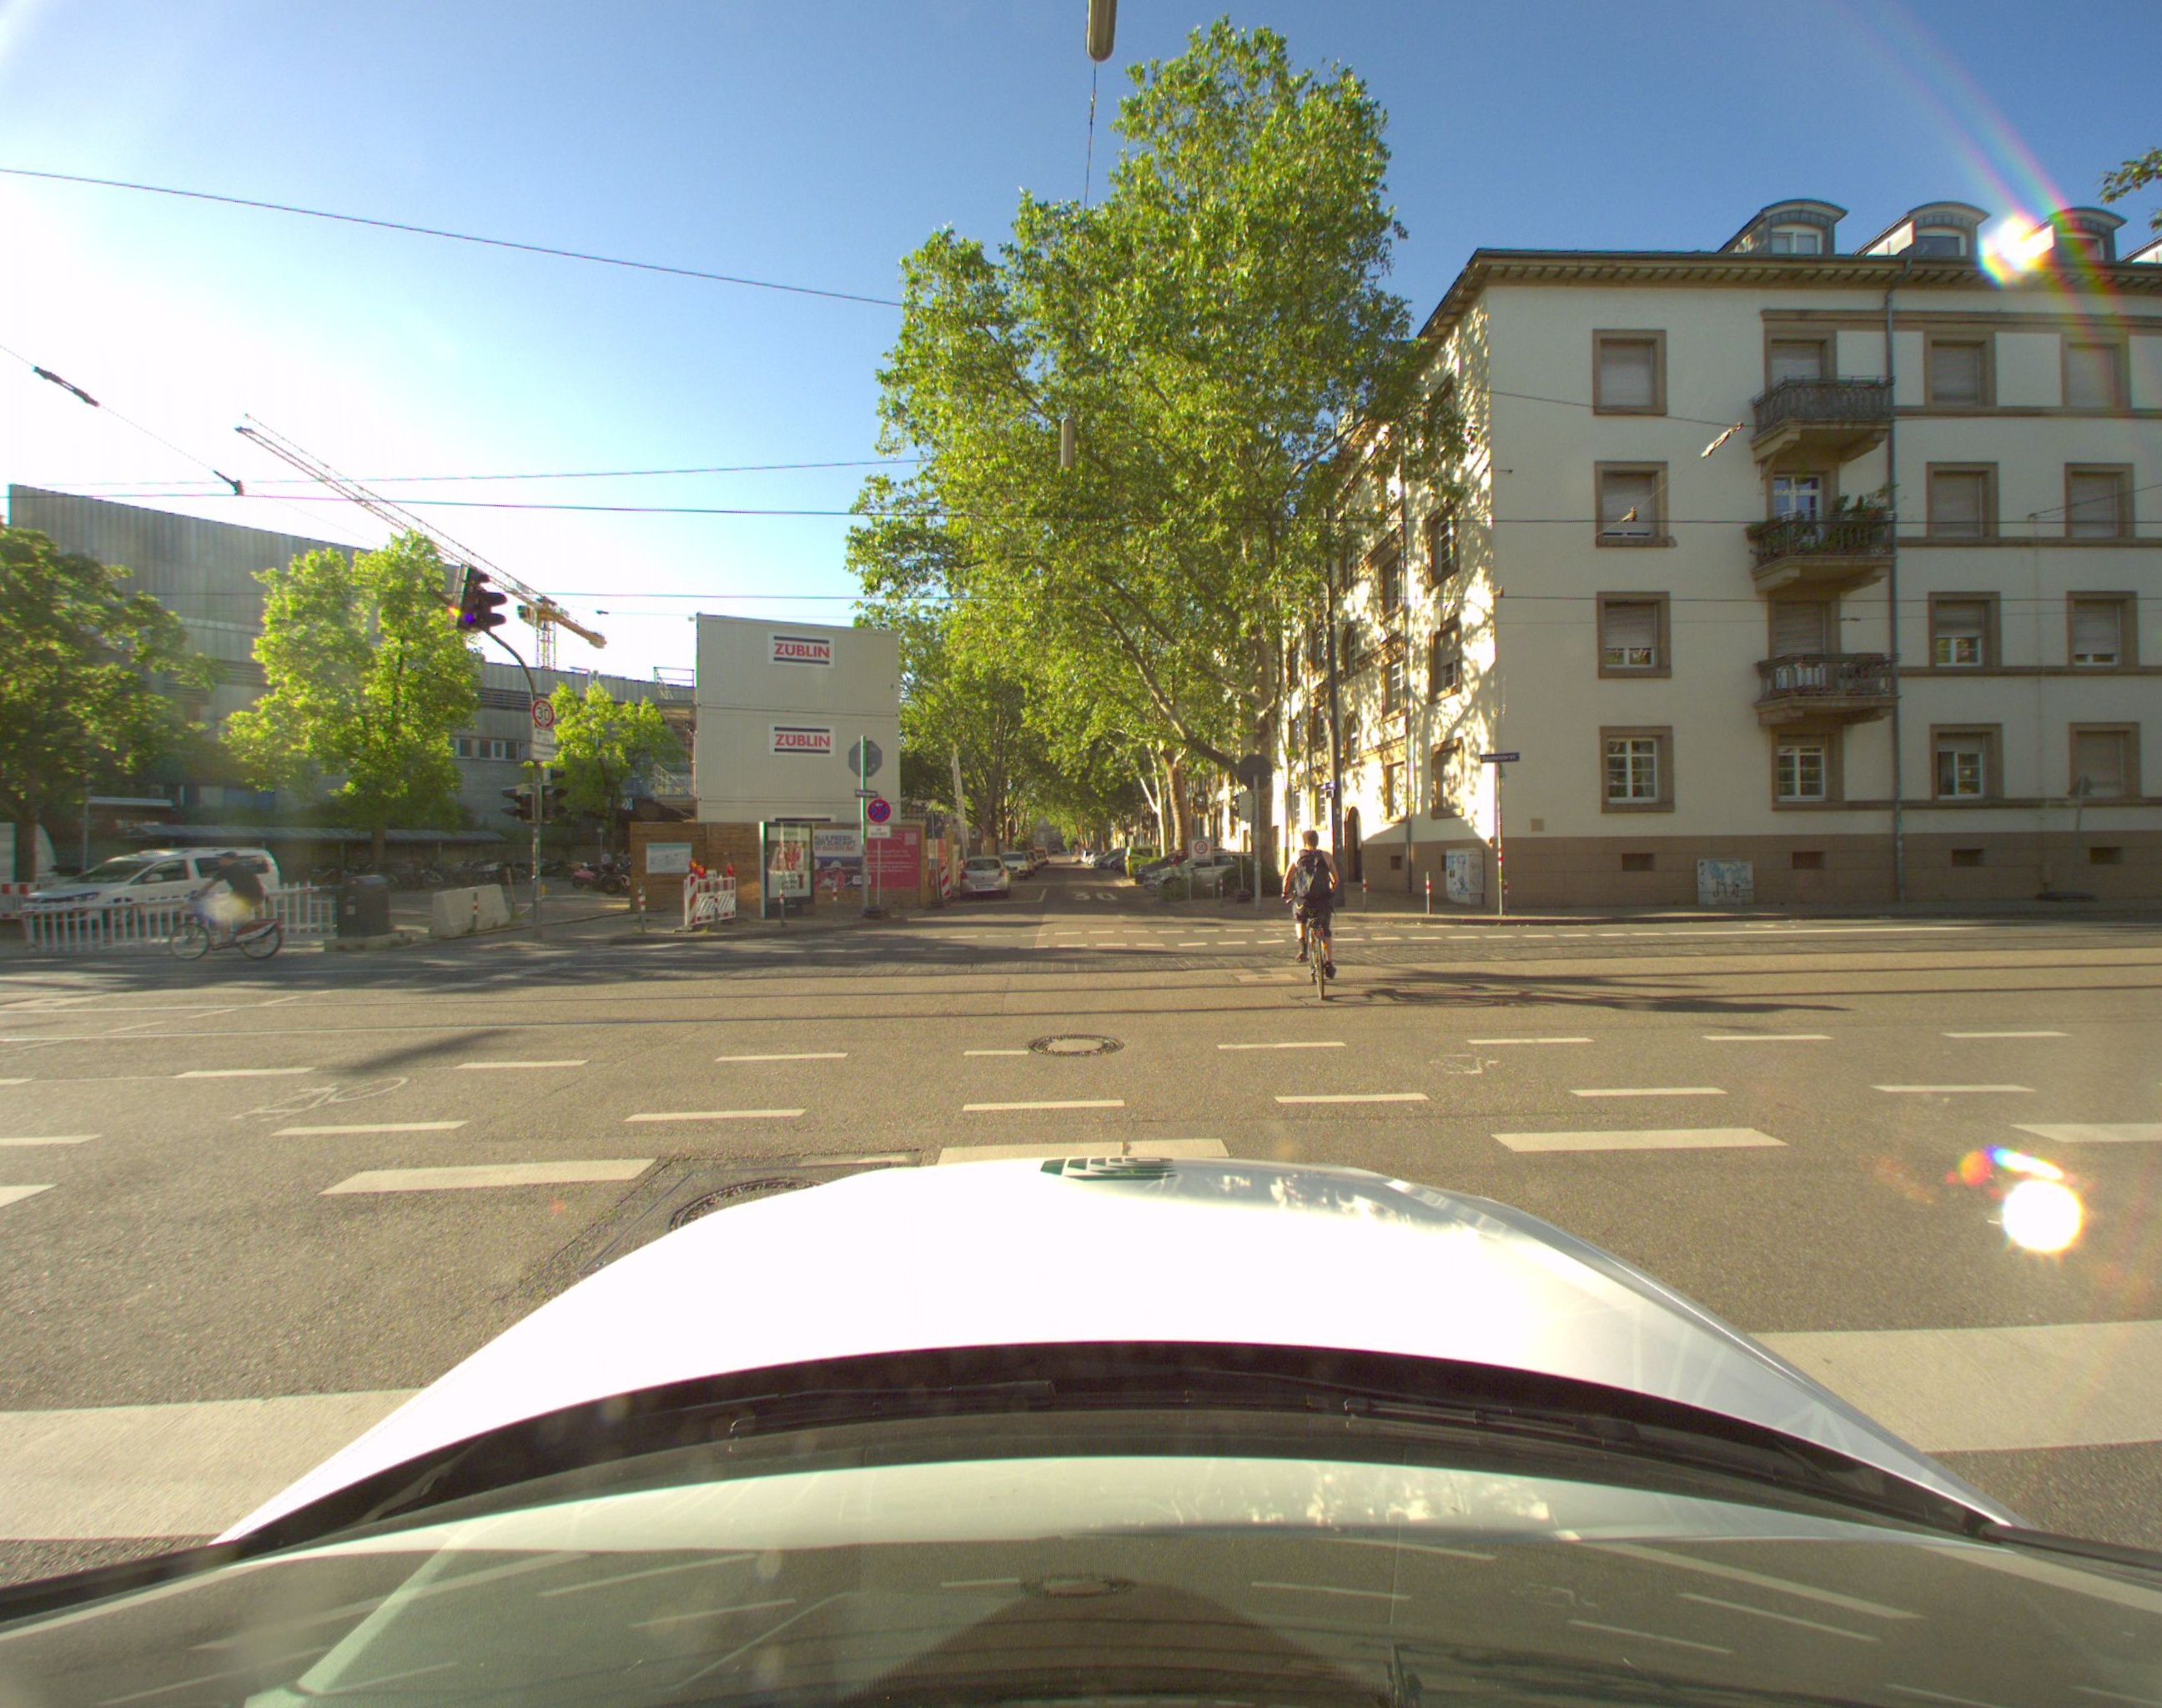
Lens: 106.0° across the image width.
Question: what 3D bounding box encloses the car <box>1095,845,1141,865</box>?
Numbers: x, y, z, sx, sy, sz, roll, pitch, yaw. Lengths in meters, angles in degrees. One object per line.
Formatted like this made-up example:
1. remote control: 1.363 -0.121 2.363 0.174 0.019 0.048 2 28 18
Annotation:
1. car: 3.729 0.105 82.425 4.451 1.898 1.726 -1 0 -3

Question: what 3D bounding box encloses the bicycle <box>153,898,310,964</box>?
1. bicycle: -14.725 1.323 14.147 1.911 1.018 0.682 -1 0 -3

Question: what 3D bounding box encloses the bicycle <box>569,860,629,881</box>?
1. bicycle: -27.895 0.978 47.115 3.062 1.147 0.823 -1 1 7

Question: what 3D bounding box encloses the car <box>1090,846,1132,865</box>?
1. car: 3.210 0.162 88.043 4.451 1.898 1.726 -1 0 -3

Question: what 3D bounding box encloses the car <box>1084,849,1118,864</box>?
1. car: 2.621 0.346 108.444 4.451 1.898 1.726 -1 0 -3

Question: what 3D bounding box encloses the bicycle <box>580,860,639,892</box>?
1. bicycle: -19.602 0.897 33.898 2.060 1.257 0.537 -1 1 -40

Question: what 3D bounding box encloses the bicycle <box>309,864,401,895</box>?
1. bicycle: -28.370 1.000 31.847 3.062 1.147 0.823 -1 1 7

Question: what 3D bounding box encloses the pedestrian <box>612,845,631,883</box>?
1. pedestrian: -24.702 0.546 43.796 0.804 2.013 1.022 -1 0 -26

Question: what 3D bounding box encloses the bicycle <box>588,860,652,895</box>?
1. bicycle: -17.643 0.872 31.216 2.060 1.257 0.466 -1 1 -40

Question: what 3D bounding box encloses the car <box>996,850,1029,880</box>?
1. car: -3.794 0.590 45.644 1.662 1.562 3.995 -1 0 -3

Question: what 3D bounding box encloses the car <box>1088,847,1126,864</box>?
1. car: 3.083 0.180 97.985 4.451 1.898 1.726 -1 0 -3

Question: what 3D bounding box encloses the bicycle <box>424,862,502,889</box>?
1. bicycle: -27.797 0.981 36.653 3.062 1.147 0.823 -1 1 7

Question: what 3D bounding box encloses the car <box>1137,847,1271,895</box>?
1. car: 4.329 0.589 29.028 4.451 1.571 1.726 -1 0 -3

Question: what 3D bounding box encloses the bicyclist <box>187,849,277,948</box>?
1. bicyclist: -14.719 0.757 14.143 0.807 1.658 0.682 -1 0 -3

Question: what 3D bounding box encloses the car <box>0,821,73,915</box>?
1. car: -30.301 0.471 21.001 1.990 2.530 5.374 -1 3 -4

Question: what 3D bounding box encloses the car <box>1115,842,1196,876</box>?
1. car: 4.249 0.285 46.999 4.452 1.836 1.726 -1 0 -4

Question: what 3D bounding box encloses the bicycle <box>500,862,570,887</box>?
1. bicycle: -27.228 1.018 40.633 3.062 1.147 0.823 -1 1 7

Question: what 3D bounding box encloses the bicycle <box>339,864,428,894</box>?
1. bicycle: -28.247 1.011 32.993 3.062 1.147 0.823 -1 1 7

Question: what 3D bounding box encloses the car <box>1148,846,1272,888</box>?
1. car: 4.935 0.496 31.509 4.451 1.500 1.726 -1 0 -3

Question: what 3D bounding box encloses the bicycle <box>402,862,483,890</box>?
1. bicycle: -27.912 0.971 35.620 3.062 1.147 0.823 -1 1 7

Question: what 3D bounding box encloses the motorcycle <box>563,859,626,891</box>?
1. motorcycle: -20.663 0.886 34.610 2.223 1.257 0.537 -2 1 -40

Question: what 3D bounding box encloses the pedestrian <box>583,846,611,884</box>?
1. pedestrian: -25.605 0.568 43.072 0.796 2.013 0.941 -1 0 9

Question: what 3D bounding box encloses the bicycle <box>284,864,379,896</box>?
1. bicycle: -28.370 0.991 30.850 3.062 1.147 0.823 -1 1 7

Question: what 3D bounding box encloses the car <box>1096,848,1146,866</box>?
1. car: 3.652 0.253 75.100 4.451 1.571 1.726 -1 0 -3

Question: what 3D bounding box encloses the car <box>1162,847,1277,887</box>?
1. car: 5.711 0.523 33.908 4.451 1.571 1.726 -1 0 -3

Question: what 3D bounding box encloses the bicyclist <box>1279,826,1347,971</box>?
1. bicyclist: 2.514 0.459 8.892 0.671 1.513 0.671 1 0 12

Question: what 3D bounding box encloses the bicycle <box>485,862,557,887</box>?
1. bicycle: -27.292 1.010 39.697 3.062 1.147 0.823 -1 1 7

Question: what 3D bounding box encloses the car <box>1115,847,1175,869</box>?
1. car: 4.884 0.304 62.381 4.451 1.571 1.726 -1 0 -3

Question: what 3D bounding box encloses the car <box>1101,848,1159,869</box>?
1. car: 3.936 0.339 65.548 4.451 1.571 1.726 -1 0 -3

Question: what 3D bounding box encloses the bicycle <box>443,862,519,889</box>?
1. bicycle: -27.642 0.989 37.539 3.062 1.147 0.823 -1 1 7

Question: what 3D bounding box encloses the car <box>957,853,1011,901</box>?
1. car: -3.448 0.775 29.522 1.640 1.494 3.995 -3 0 -3

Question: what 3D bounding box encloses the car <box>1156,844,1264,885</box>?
1. car: 5.647 0.457 35.993 4.451 1.671 1.726 -1 0 -3

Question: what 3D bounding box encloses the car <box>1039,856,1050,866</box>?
1. car: -5.797 1.057 128.738 1.662 1.562 4.214 -1 0 -3

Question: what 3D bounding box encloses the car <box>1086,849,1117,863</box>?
1. car: 2.927 0.337 117.586 4.451 1.898 1.726 -1 0 -3

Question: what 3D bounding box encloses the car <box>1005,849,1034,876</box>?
1. car: -3.833 0.503 51.349 1.662 1.562 4.513 -1 0 -3

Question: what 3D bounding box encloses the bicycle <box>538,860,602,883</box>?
1. bicycle: -27.728 0.950 44.171 3.062 1.147 0.823 -1 1 7

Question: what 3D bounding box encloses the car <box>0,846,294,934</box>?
1. car: -24.240 0.826 21.434 1.995 1.892 4.953 0 2 4

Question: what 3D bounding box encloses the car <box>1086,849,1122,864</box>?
1. car: 2.942 0.299 105.410 4.451 1.898 1.726 -1 0 -3

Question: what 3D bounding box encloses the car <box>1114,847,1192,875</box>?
1. car: 4.292 0.434 49.017 4.451 1.571 1.726 -1 0 -3

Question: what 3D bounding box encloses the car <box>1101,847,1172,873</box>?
1. car: 3.565 0.375 52.929 4.451 1.571 1.726 -1 0 -3

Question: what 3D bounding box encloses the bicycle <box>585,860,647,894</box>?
1. bicycle: -18.258 0.878 32.011 2.060 1.257 0.466 -1 1 -40

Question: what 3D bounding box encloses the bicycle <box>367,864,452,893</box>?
1. bicycle: -28.052 1.021 34.057 3.062 1.147 0.823 -1 1 7

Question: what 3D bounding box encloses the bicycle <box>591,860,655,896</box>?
1. bicycle: -17.331 0.881 30.860 2.060 1.257 0.466 -1 1 -40

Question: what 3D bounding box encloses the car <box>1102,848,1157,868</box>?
1. car: 4.003 0.351 68.026 4.451 1.571 1.726 -1 0 -3

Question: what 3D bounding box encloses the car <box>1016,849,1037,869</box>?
1. car: -4.521 0.399 68.074 1.662 1.562 4.611 -1 0 -3

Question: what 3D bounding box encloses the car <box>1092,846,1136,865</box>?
1. car: 3.479 0.155 85.183 4.451 1.898 1.726 -1 0 -3

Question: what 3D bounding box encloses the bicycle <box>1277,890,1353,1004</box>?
1. bicycle: 2.532 0.955 8.972 0.685 1.016 1.914 1 0 13

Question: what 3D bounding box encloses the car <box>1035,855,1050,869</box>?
1. car: -4.685 0.953 98.870 1.662 1.562 4.214 -1 0 -3

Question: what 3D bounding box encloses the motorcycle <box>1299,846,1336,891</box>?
1. motorcycle: 7.225 0.428 24.985 0.513 1.332 1.761 -1 0 -4

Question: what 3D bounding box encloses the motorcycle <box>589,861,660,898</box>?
1. motorcycle: -16.754 0.900 29.936 2.223 1.257 0.537 -2 1 -40

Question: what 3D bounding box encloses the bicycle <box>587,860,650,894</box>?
1. bicycle: -17.939 0.875 31.617 2.060 1.257 0.466 -1 1 -40

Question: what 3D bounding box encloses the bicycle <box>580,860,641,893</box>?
1. bicycle: -19.282 0.892 33.402 2.060 1.257 0.537 -1 1 -40

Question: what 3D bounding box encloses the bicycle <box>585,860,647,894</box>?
1. bicycle: -18.537 0.883 32.484 2.060 1.257 0.537 -1 1 -40

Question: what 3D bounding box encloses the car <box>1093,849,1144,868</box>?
1. car: 3.333 0.372 72.768 4.451 1.571 1.726 -1 0 -3
